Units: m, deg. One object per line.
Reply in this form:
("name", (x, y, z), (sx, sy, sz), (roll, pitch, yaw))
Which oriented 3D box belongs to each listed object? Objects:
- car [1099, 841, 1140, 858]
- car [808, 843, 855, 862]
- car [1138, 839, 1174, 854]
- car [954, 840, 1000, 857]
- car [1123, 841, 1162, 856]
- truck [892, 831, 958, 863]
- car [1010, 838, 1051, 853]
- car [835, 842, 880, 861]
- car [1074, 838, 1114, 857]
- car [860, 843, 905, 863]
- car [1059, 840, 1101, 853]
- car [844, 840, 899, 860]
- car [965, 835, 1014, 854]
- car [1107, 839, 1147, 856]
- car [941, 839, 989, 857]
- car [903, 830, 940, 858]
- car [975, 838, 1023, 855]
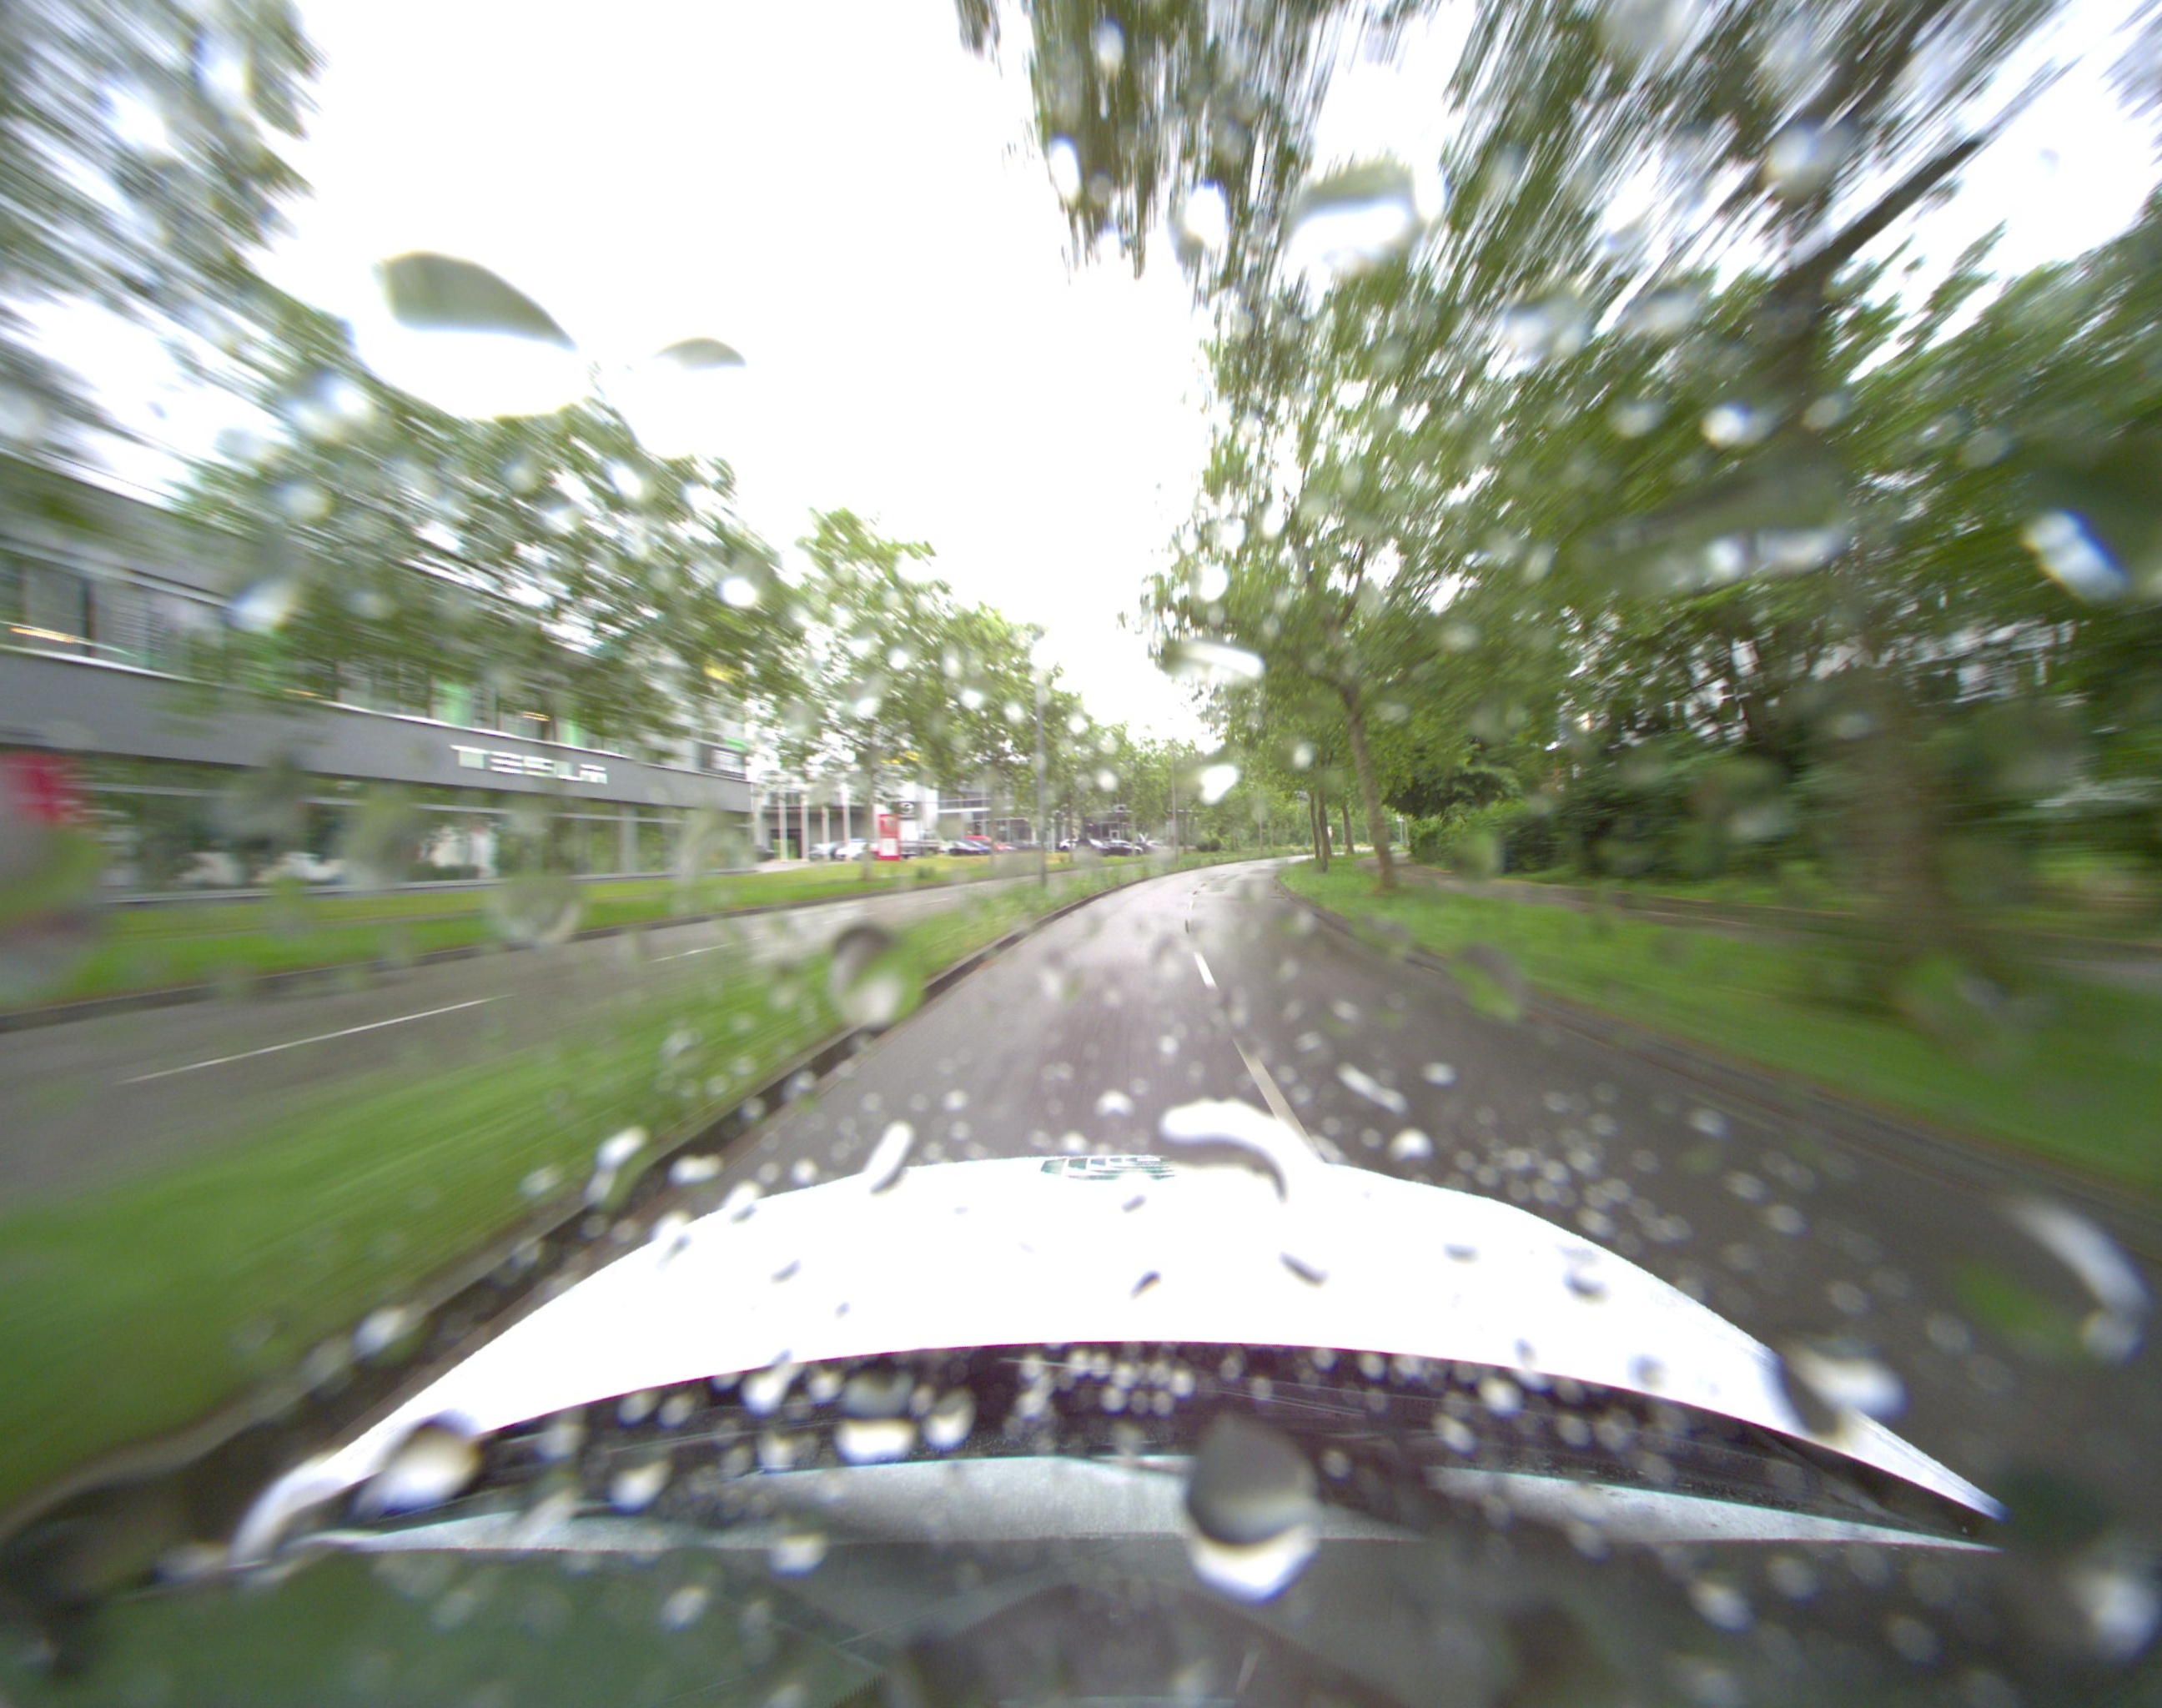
("car", (4.240, -0.495, 90.585), (4.120, 1.478, 1.841), (4, 4, -13))
("car", (-20.372, -0.171, 66.591), (1.750, 1.396, 4.173), (0, 2, 13))
("car", (9.297, -0.928, 100.704), (4.006, 1.475, 1.771), (3, 4, -25))
("car", (-8.990, -0.502, 70.510), (3.494, 1.326, 1.777), (2, 3, 19))
("car", (7.308, -0.655, 96.856), (4.125, 1.422, 1.838), (4, 4, -17))
("truck", (-12.230, -0.626, 64.266), (2.228, 2.344, 6.226), (2, 3, 20))
("car", (-5.119, -0.873, 82.676), (3.982, 1.357, 1.848), (1, 2, 1))
("car", (-18.089, -0.218, 66.073), (1.750, 1.396, 4.173), (0, 2, 13))
("car", (1.336, -0.715, 87.268), (1.856, 1.556, 4.390), (2, 5, -37))
("car", (-15.667, -0.098, 64.610), (1.750, 1.466, 4.173), (0, 2, 13))
("car", (-0.118, -0.866, 92.380), (4.387, 1.473, 1.928), (-1, 1, 16))
("car", (-19.489, -0.402, 75.747), (4.670, 1.764, 1.802), (0, 1, -32))
("car", (-8.202, -0.882, 73.124), (3.963, 1.556, 1.857), (2, 3, 19))
("car", (5.303, -0.742, 93.348), (4.130, 1.478, 1.836), (4, 4, -20))
("car", (-9.745, -0.518, 68.330), (3.494, 1.326, 1.777), (2, 3, 19))
("car", (-16.162, -1.058, 82.211), (2.177, 2.752, 5.289), (0, 1, -29))
("car", (-7.628, -0.726, 75.924), (3.963, 1.357, 1.857), (2, 3, 19))
